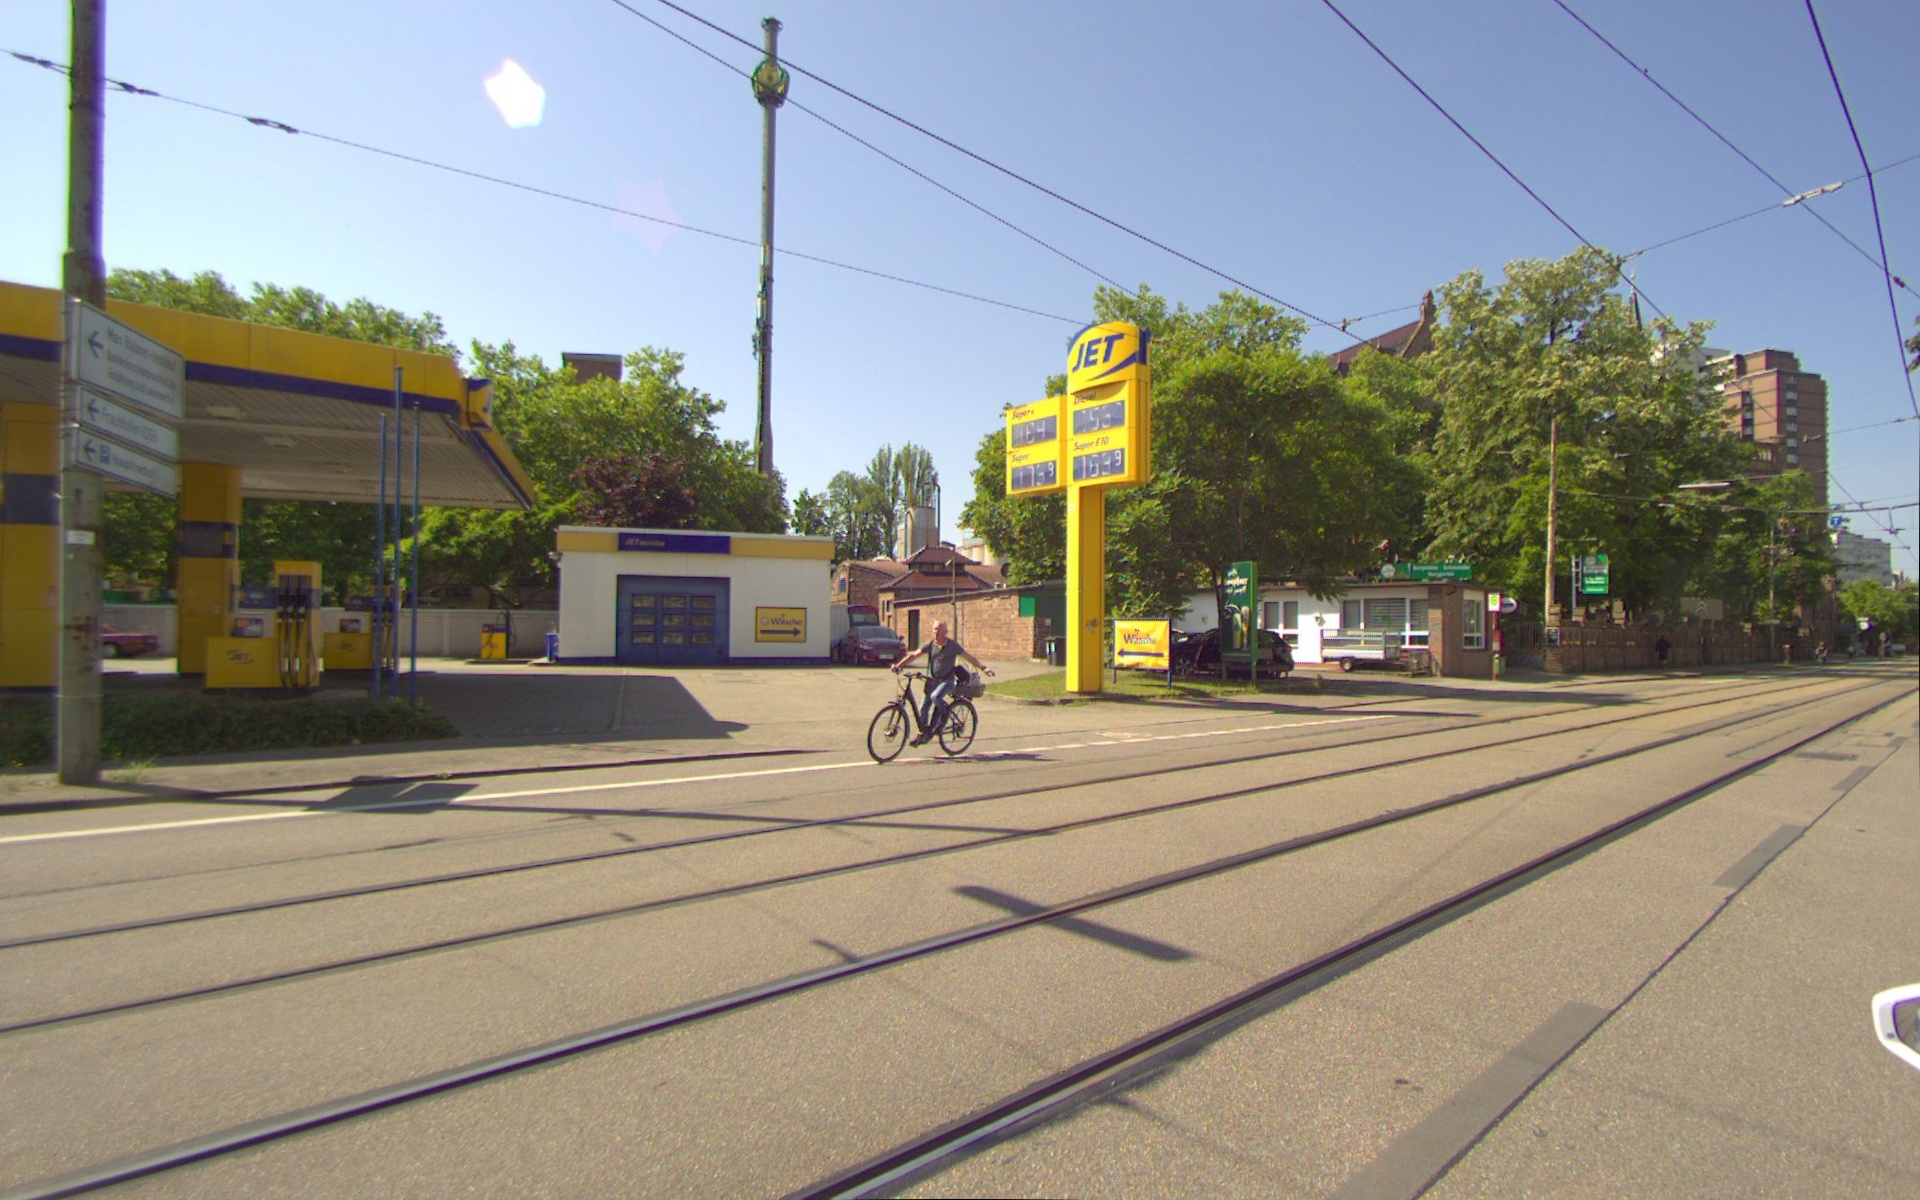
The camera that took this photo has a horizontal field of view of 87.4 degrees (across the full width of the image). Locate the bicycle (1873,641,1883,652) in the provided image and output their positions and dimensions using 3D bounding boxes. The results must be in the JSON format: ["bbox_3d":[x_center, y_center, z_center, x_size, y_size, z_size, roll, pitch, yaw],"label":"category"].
[{"bbox_3d":[100.719,5.058,110.167,2.000,1.169,0.656,2,-2,-44],"label":"bicycle"}]

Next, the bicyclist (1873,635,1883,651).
[{"bbox_3d":[100.759,4.691,110.221,1.139,1.720,0.718,3,-3,-45],"label":"bicyclist"}]

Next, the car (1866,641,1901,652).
[{"bbox_3d":[156.454,7.938,170.204,3.920,1.773,2.001,0,-2,16],"label":"car"}]

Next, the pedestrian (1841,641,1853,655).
[{"bbox_3d":[101.790,5.536,115.231,0.872,1.532,1.470,-1,-3,37],"label":"pedestrian"}]

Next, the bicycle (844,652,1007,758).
[{"bbox_3d":[-0.400,1.265,12.574,2.105,1.212,0.605,2,-3,-39],"label":"bicycle"}]

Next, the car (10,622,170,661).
[{"bbox_3d":[-32.216,1.549,37.344,4.071,1.378,1.753,1,-2,-22],"label":"car"}]

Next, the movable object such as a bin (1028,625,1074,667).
[{"bbox_3d":[3.373,1.715,37.304,1.309,1.522,1.326,0,-3,-15],"label":"movable object such as a bin"}]

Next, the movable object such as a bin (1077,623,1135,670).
[{"bbox_3d":[4.917,1.562,33.858,1.368,1.522,1.405,2,-2,-40],"label":"movable object such as a bin"}]

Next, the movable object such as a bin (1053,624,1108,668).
[{"bbox_3d":[4.257,1.611,35.536,1.362,1.522,1.412,1,-2,-28],"label":"movable object such as a bin"}]

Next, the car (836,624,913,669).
[{"bbox_3d":[-3.226,1.648,36.902,1.862,1.479,4.539,-1,-1,-17],"label":"car"}]

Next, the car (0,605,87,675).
[{"bbox_3d":[-29.147,1.135,29.261,5.232,2.008,1.752,1,-2,-24],"label":"car"}]

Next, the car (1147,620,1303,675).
[{"bbox_3d":[8.562,1.532,32.755,4.567,1.662,2.021,1,-1,0],"label":"car"}]

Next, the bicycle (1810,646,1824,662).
[{"bbox_3d":[61.366,3.871,71.923,2.040,1.120,0.586,2,-2,-44],"label":"bicycle"}]

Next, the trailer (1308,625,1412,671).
[{"bbox_3d":[15.043,1.787,37.841,1.711,1.624,3.244,2,-2,-42],"label":"trailer"}]

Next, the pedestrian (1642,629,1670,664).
[{"bbox_3d":[36.824,2.481,53.173,1.177,1.839,0.967,2,-4,-43],"label":"pedestrian"}]

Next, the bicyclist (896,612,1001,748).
[{"bbox_3d":[-0.144,0.975,12.588,0.957,1.616,0.896,2,-3,-40],"label":"bicyclist"}]

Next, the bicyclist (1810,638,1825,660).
[{"bbox_3d":[61.364,3.487,71.892,0.941,1.551,0.733,2,-2,-43],"label":"bicyclist"}]

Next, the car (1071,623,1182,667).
[{"bbox_3d":[6.318,1.716,38.406,3.921,1.578,1.848,1,-1,0],"label":"car"}]
